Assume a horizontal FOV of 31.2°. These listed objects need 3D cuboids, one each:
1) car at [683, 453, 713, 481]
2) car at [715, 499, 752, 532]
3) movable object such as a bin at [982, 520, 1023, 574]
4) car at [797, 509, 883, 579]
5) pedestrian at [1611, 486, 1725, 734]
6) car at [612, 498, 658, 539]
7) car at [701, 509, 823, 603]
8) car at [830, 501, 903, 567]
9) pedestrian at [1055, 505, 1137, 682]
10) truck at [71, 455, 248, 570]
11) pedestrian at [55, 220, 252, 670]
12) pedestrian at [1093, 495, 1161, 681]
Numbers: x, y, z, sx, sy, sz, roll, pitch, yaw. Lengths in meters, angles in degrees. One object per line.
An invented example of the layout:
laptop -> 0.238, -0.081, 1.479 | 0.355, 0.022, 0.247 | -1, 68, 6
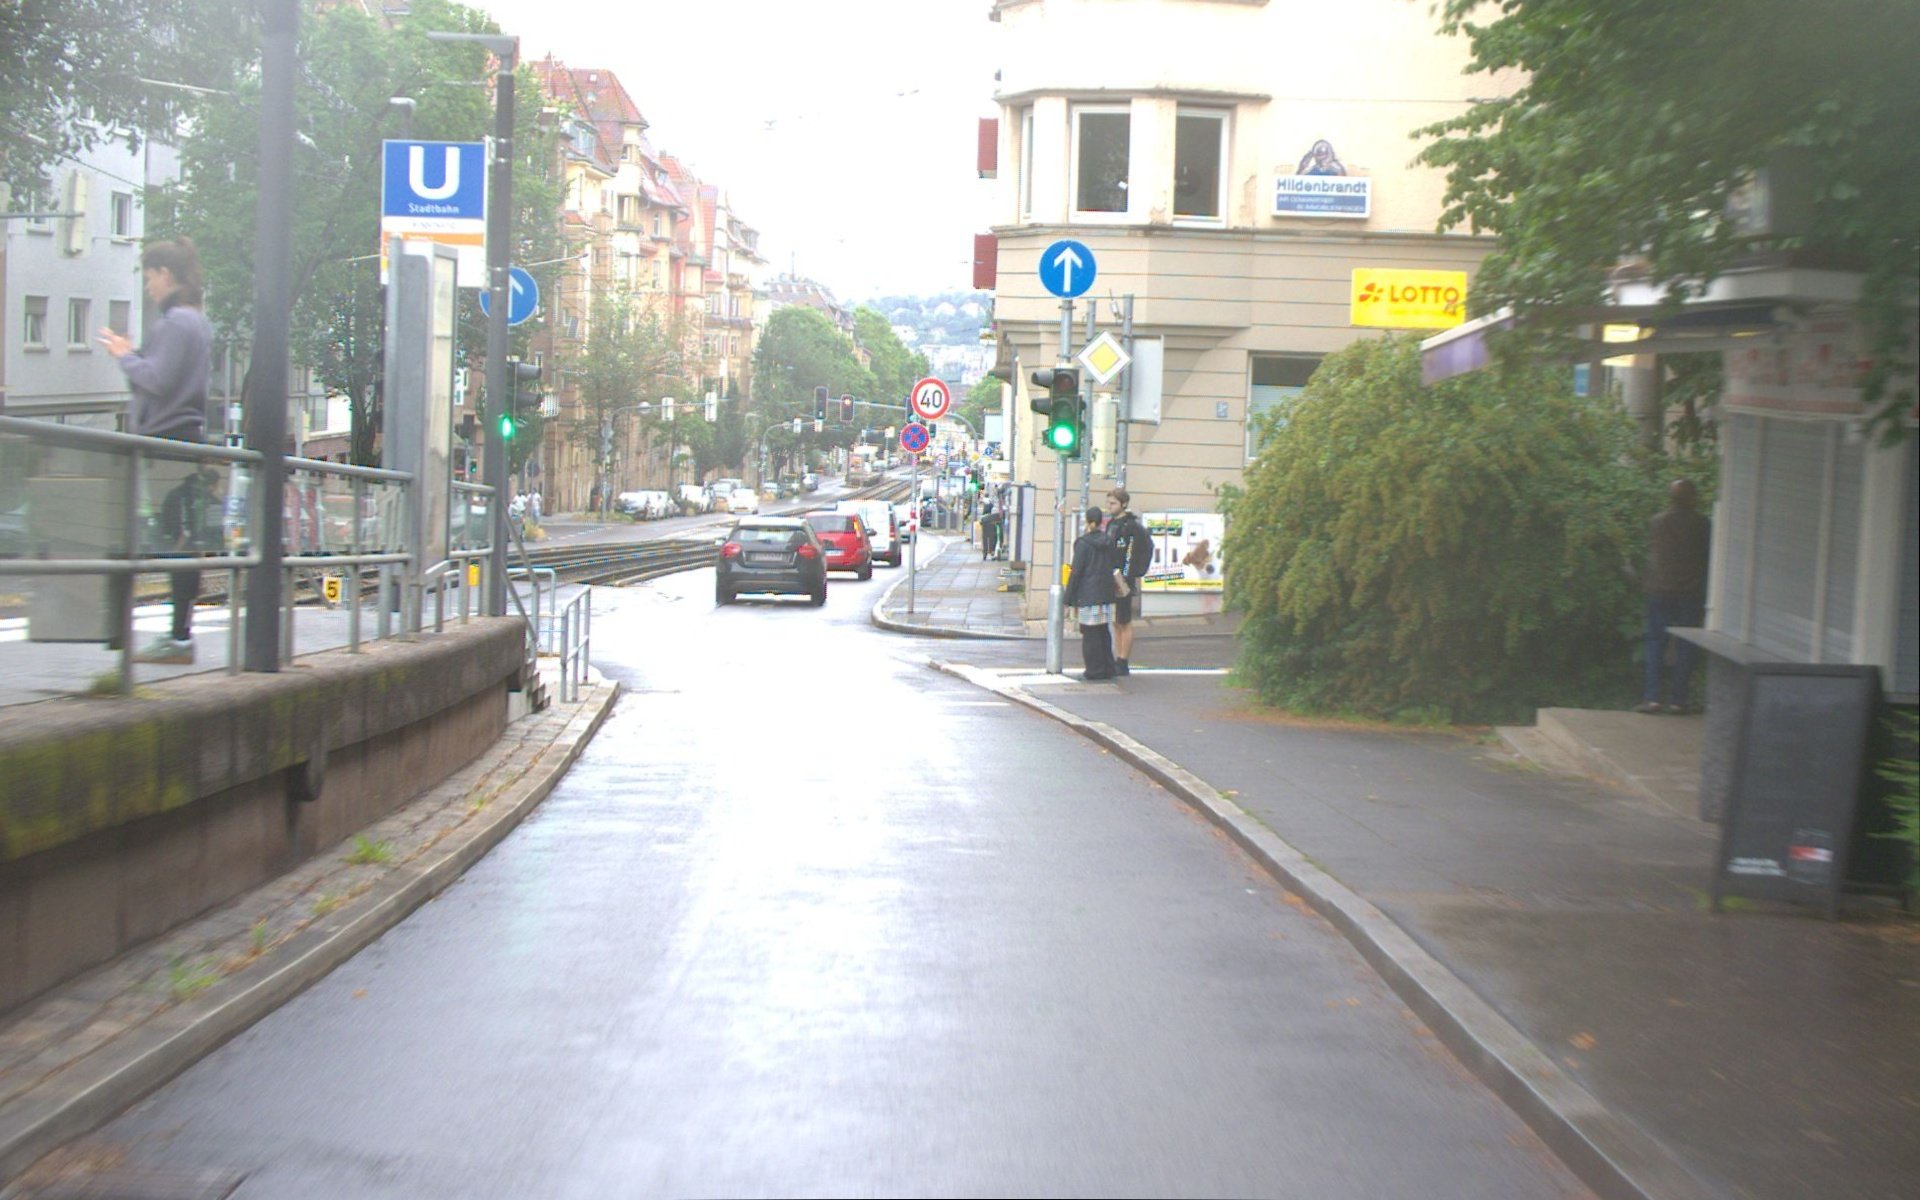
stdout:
car -> -19.511, -9.877, 256.219 | 1.993, 2.007, 4.001 | 1, 1, -1
car -> -13.911, -5.206, 211.355 | 1.993, 2.007, 4.347 | 1, 1, -1
movable object such as a bin -> 1.303, -1.621, 105.416 | 1.167, 1.649, 1.309 | 0, 1, -3
car -> -2.698, -1.265, 77.959 | 1.851, 1.468, 4.000 | 2, 1, -1
pedestrian -> 5.093, 0.067, 24.755 | 0.602, 1.739, 0.614 | 3, 1, -1
car -> -16.365, -4.096, 173.423 | 1.993, 2.007, 4.347 | 0, 0, -1
car -> -3.267, -0.757, 57.354 | 1.851, 1.468, 4.001 | 1, 1, -1
car -> -2.649, -1.864, 97.709 | 1.948, 1.787, 4.144 | 2, 1, -1
pedestrian -> 1.320, -0.066, 33.428 | 0.695, 1.689, 0.555 | 2, 1, -2
truck -> -17.605, -1.898, 75.952 | 2.051, 2.385, 6.320 | 1, 1, 3
pedestrian -> -3.350, -0.633, 14.313 | 0.589, 1.801, 0.661 | 3, 1, -1
pedestrian -> 1.655, -0.122, 34.055 | 0.554, 1.807, 0.651 | 2, 1, -2
